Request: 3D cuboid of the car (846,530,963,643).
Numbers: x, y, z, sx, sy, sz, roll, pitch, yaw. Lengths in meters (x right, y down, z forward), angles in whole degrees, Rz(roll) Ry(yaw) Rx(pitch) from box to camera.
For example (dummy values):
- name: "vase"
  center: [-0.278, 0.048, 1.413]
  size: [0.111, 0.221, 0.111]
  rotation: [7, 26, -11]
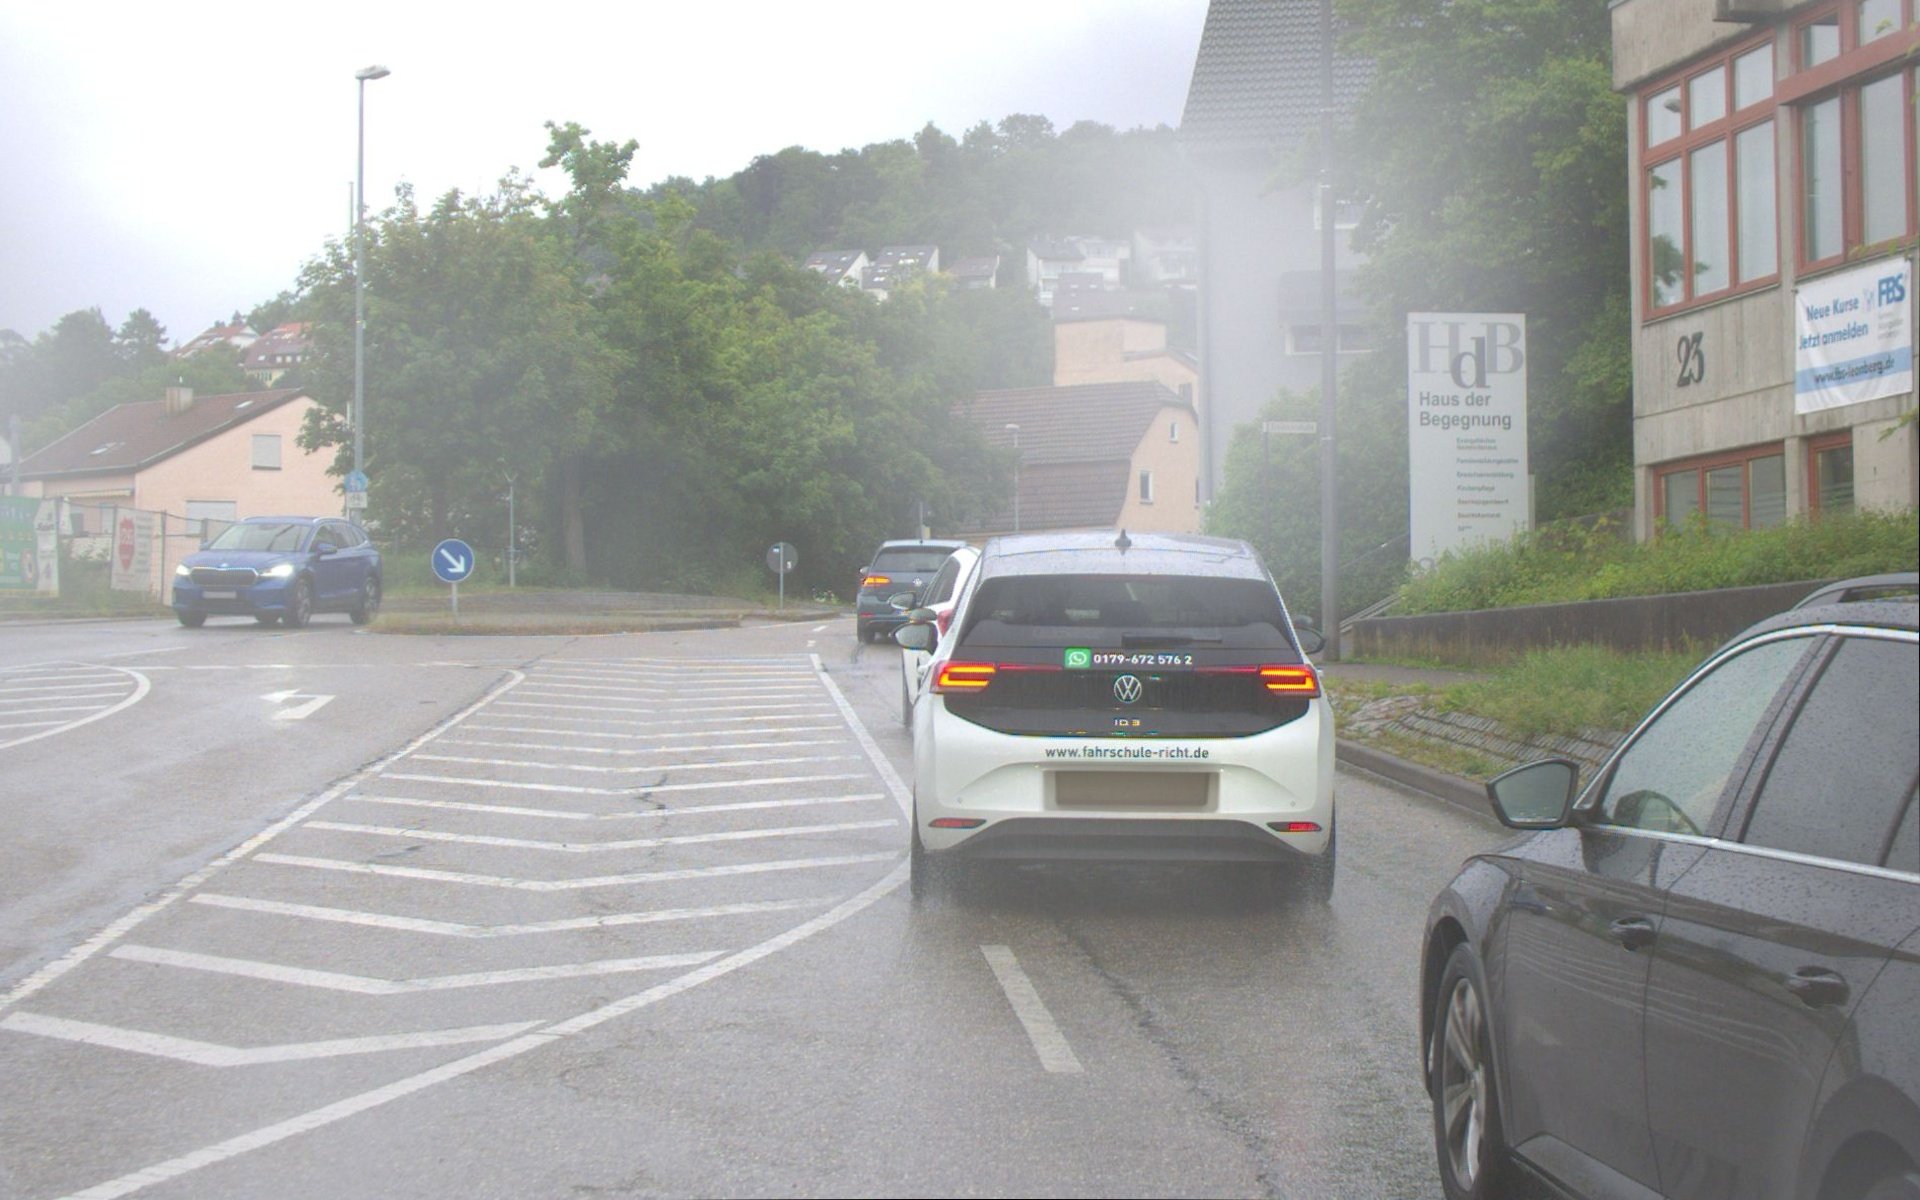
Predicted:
- name: "car"
  center: [-0.783, -0.224, 48.335]
  size: [1.567, 1.525, 4.000]
  rotation: [0, 1, -1]

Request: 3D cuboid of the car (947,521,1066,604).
- name: "car"
  center: [0.916, -0.699, 65.319]
  size: [1.994, 1.448, 3.770]
  rotation: [-2, 0, 4]

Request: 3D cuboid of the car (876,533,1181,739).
- name: "car"
  center: [0.423, 0.244, 25.902]
  size: [1.848, 1.405, 4.302]
  rotation: [0, 0, -5]

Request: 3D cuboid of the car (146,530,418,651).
- name: "car"
  center: [-9.981, -0.124, 50.987]
  size: [1.995, 1.687, 4.701]
  rotation: [1, 0, 16]

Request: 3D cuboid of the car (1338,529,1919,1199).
- name: "car"
  center: [2.060, 0.691, 5.897]
  size: [1.954, 1.502, 4.609]
  rotation: [2, 0, -4]

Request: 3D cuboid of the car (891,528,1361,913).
- name: "car"
  center: [0.672, 0.466, 15.553]
  size: [1.828, 1.495, 4.168]
  rotation: [0, 0, 1]
